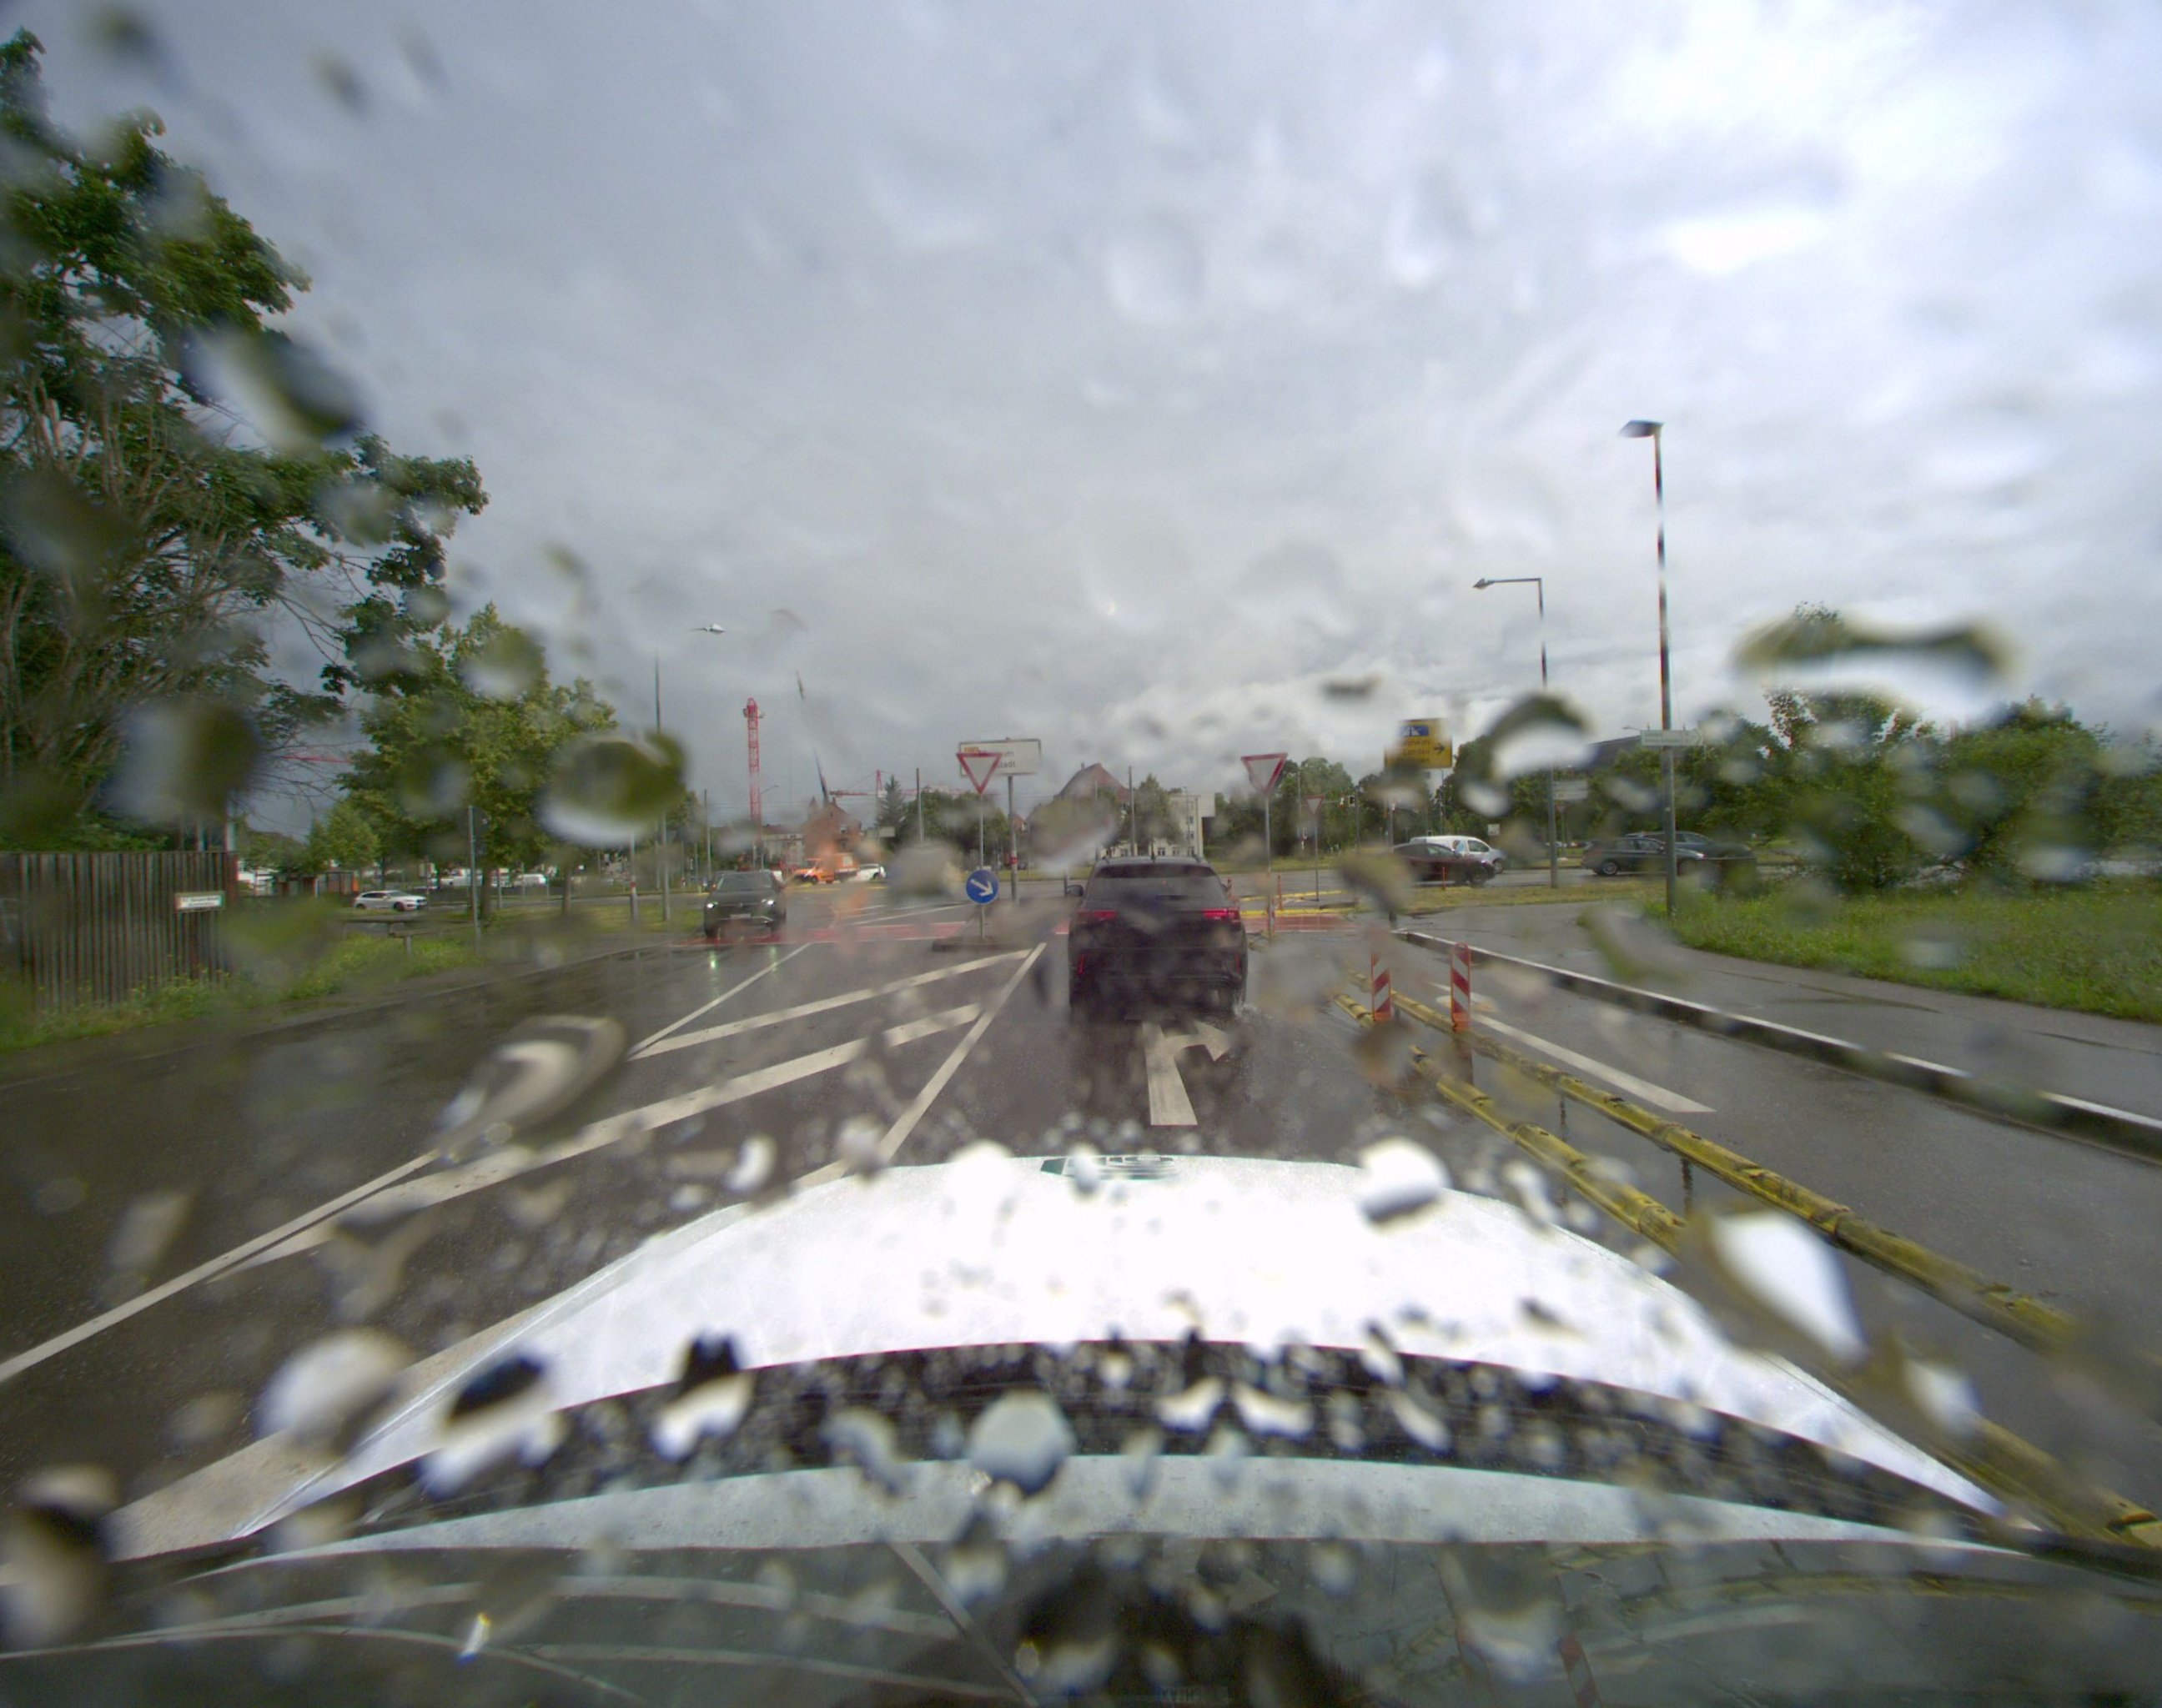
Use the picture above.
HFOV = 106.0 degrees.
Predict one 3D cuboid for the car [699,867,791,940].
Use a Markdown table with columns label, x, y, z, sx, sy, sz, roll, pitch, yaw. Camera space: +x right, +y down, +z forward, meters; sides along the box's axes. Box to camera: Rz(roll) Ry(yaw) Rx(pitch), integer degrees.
| label | x | y | z | sx | sy | sz | roll | pitch | yaw |
| --- | --- | --- | --- | --- | --- | --- | --- | --- | --- |
| car | -9.025 | 1.256 | 22.172 | 1.738 | 1.664 | 4.087 | -4 | 0 | -16 |

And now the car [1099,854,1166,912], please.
| label | x | y | z | sx | sy | sz | roll | pitch | yaw |
| --- | --- | --- | --- | --- | --- | --- | --- | --- | --- |
| car | 1.570 | 0.785 | 23.760 | 1.726 | 1.514 | 3.610 | -2 | 0 | 6 |

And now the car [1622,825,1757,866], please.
| label | x | y | z | sx | sy | sz | roll | pitch | yaw |
| --- | --- | --- | --- | --- | --- | --- | --- | --- | --- |
| car | 26.221 | -0.347 | 35.290 | 4.349 | 1.548 | 1.881 | -2 | 0 | 24 |

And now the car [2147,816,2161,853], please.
| label | x | y | z | sx | sy | sz | roll | pitch | yaw |
| --- | --- | --- | --- | --- | --- | --- | --- | --- | --- |
| car | 46.810 | -0.895 | 33.035 | 1.925 | 1.560 | 4.063 | -2 | -1 | -44 |

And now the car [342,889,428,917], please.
| label | x | y | z | sx | sy | sz | roll | pitch | yaw |
| --- | --- | --- | --- | --- | --- | --- | --- | --- | --- |
| car | -47.550 | 3.343 | 55.694 | 4.384 | 1.628 | 1.630 | -2 | 0 | -1 |

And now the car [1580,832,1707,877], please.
| label | x | y | z | sx | sy | sz | roll | pitch | yaw |
| --- | --- | --- | --- | --- | --- | --- | --- | --- | --- |
| car | 22.545 | 0.029 | 32.795 | 3.906 | 1.644 | 1.680 | -2 | 0 | 23 |

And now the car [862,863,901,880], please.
| label | x | y | z | sx | sy | sz | roll | pitch | yaw |
| --- | --- | --- | --- | --- | --- | --- | --- | --- | --- |
| car | -20.112 | 1.739 | 81.942 | 3.516 | 1.584 | 1.552 | -2 | 0 | -29 |

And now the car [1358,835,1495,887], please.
| label | x | y | z | sx | sy | sz | roll | pitch | yaw |
| --- | --- | --- | --- | --- | --- | --- | --- | --- | --- |
| car | 13.022 | 0.249 | 30.882 | 4.322 | 1.725 | 2.002 | -2 | 0 | 4 |

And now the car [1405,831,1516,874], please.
| label | x | y | z | sx | sy | sz | roll | pitch | yaw |
| --- | --- | --- | --- | --- | --- | --- | --- | --- | --- |
| car | 17.774 | -0.077 | 38.253 | 4.383 | 1.809 | 1.866 | -2 | 0 | -6 |

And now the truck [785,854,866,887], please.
| label | x | y | z | sx | sy | sz | roll | pitch | yaw |
| --- | --- | --- | --- | --- | --- | --- | --- | --- | --- |
| truck | -22.142 | 1.356 | 71.045 | 2.300 | 2.650 | 7.133 | -2 | 0 | 28 |

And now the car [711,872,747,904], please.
| label | x | y | z | sx | sy | sz | roll | pitch | yaw |
| --- | --- | --- | --- | --- | --- | --- | --- | --- | --- |
| car | -20.212 | 1.911 | 46.687 | 1.574 | 1.648 | 3.619 | -2 | 0 | -29 |

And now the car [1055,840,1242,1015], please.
| label | x | y | z | sx | sy | sz | roll | pitch | yaw |
| --- | --- | --- | --- | --- | --- | --- | --- | --- | --- |
| car | 0.618 | 0.693 | 9.359 | 1.703 | 1.574 | 3.682 | -1 | -1 | 0 |
